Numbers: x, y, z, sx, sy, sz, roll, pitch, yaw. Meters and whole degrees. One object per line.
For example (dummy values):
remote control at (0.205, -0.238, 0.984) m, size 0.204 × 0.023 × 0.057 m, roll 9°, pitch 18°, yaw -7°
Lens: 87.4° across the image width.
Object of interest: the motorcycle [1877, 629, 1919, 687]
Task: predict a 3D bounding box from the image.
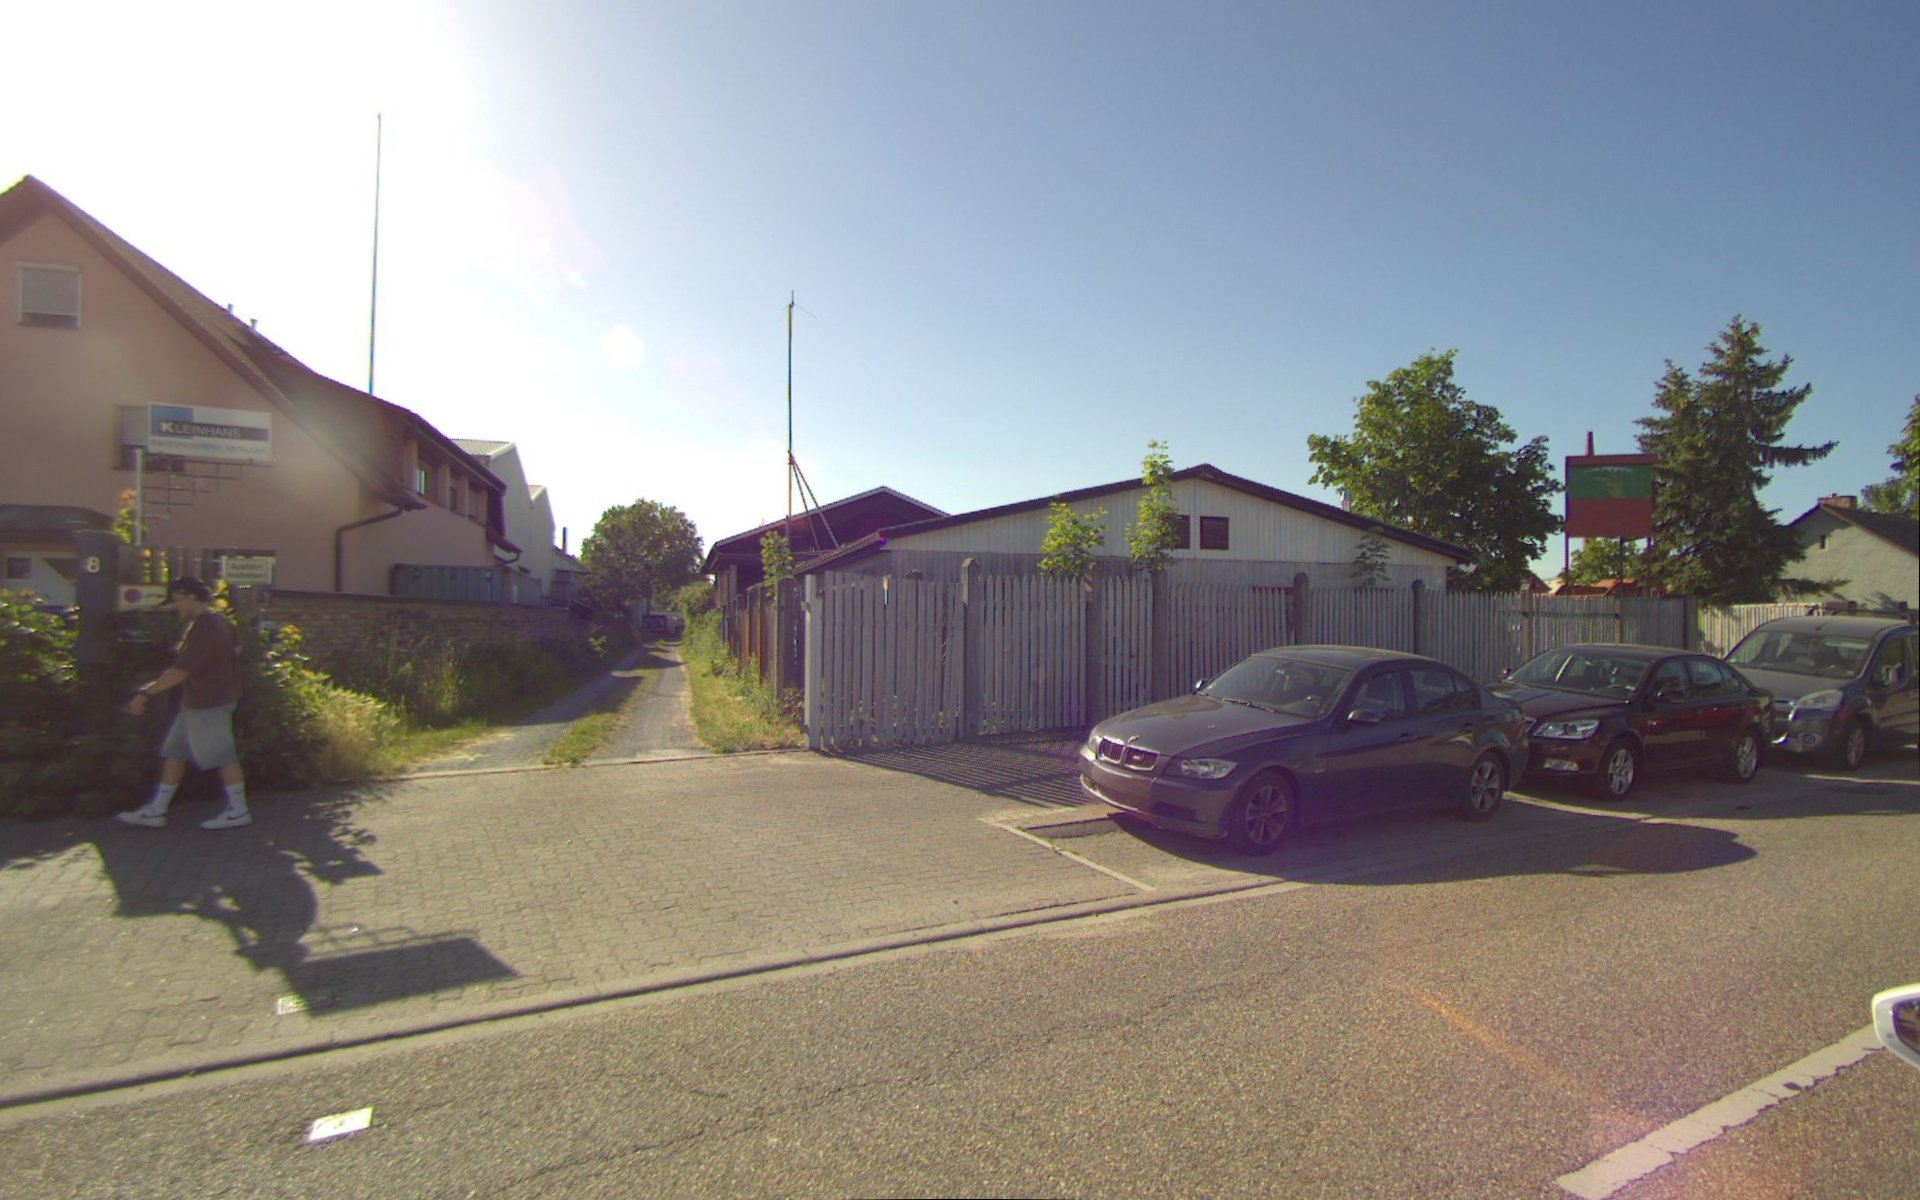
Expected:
motorcycle at (24.802, 1.494, 26.167) m, size 2.014 × 1.464 × 0.773 m, roll 1°, pitch -1°, yaw -30°

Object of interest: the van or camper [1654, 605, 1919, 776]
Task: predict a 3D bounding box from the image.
van or camper at (11.395, 1.123, 13.399) m, size 4.215 × 1.951 × 1.882 m, roll 2°, pitch -2°, yaw -30°

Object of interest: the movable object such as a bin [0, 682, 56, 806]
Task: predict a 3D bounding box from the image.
movable object such as a bin at (-7.754, 1.140, 8.021) m, size 0.630 × 0.935 × 0.498 m, roll 1°, pitch -1°, yaw -20°

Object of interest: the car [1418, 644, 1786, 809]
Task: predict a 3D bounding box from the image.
car at (7.173, 1.260, 11.155) m, size 4.122 × 1.488 × 1.687 m, roll 1°, pitch -1°, yaw -29°

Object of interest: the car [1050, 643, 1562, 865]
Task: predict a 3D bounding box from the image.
car at (3.107, 1.123, 8.707) m, size 4.505 × 1.422 × 1.748 m, roll 1°, pitch -1°, yaw -31°

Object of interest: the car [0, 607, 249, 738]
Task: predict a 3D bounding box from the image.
car at (-12.883, 0.951, 14.639) m, size 1.960 × 1.638 × 4.002 m, roll -1°, pitch -1°, yaw 5°

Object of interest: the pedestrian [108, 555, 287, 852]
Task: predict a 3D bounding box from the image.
pedestrian at (-5.276, 0.661, 6.964) m, size 0.913 × 1.862 × 0.989 m, roll 1°, pitch -1°, yaw -39°
